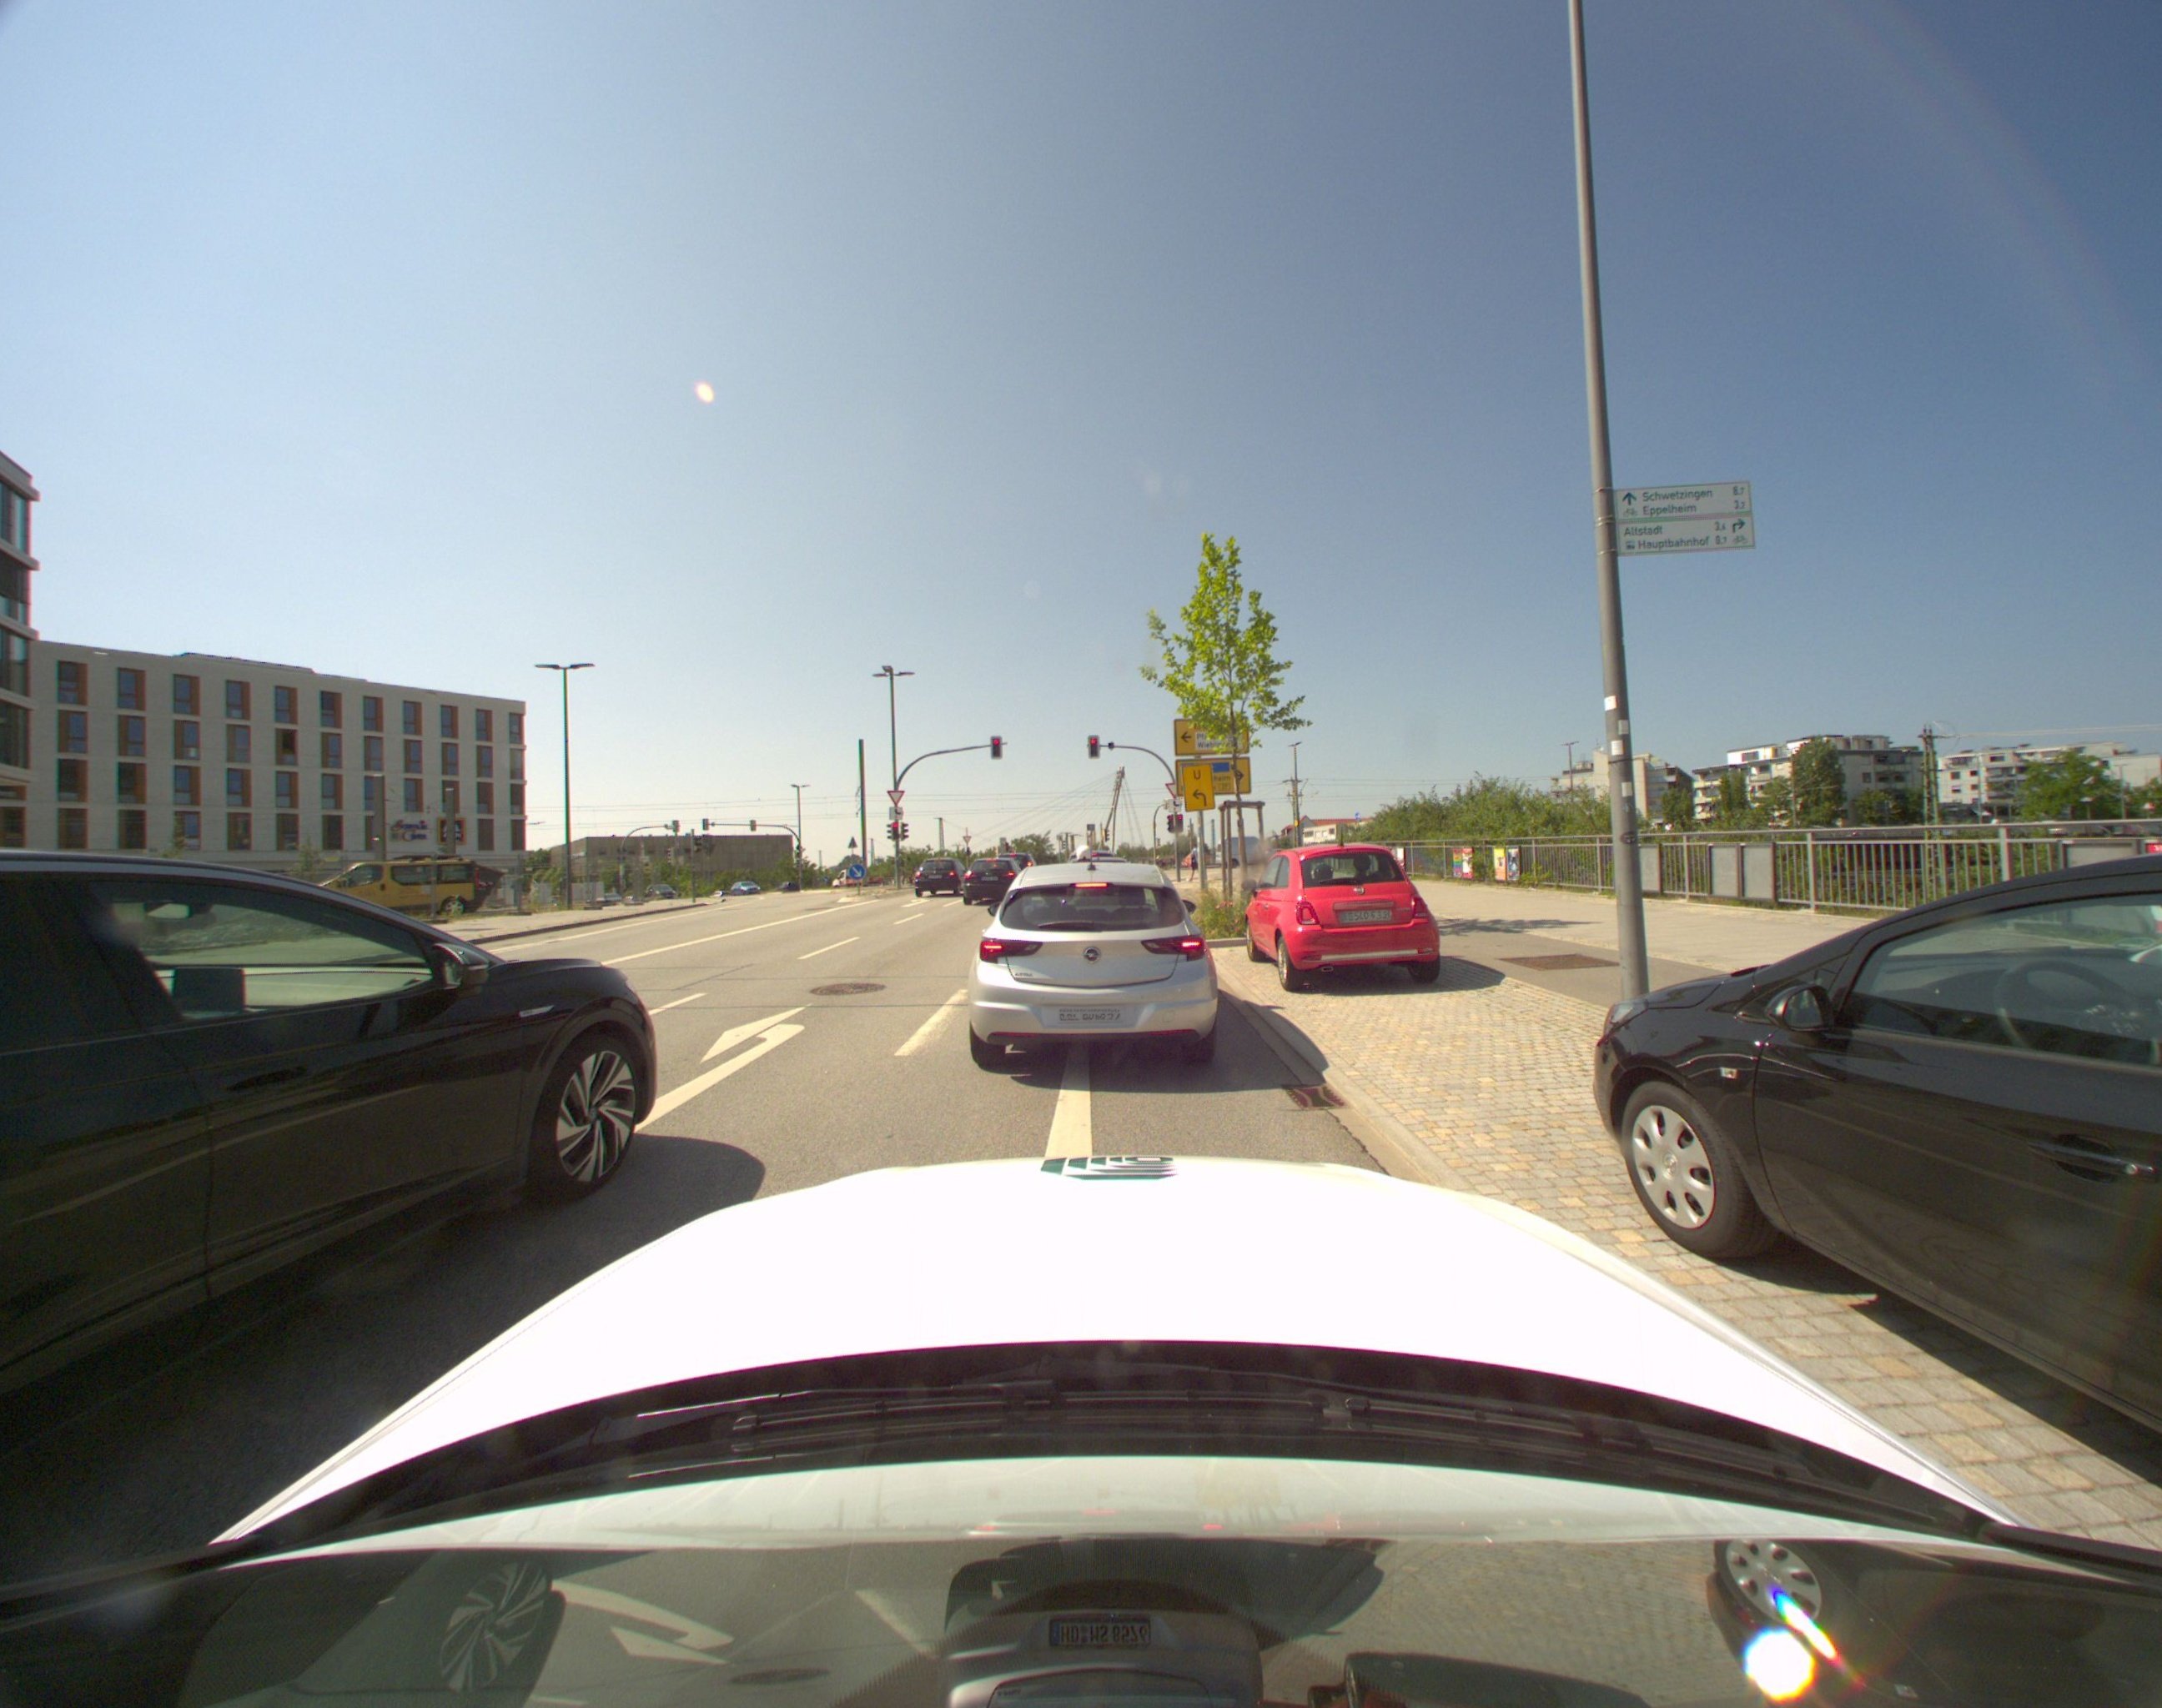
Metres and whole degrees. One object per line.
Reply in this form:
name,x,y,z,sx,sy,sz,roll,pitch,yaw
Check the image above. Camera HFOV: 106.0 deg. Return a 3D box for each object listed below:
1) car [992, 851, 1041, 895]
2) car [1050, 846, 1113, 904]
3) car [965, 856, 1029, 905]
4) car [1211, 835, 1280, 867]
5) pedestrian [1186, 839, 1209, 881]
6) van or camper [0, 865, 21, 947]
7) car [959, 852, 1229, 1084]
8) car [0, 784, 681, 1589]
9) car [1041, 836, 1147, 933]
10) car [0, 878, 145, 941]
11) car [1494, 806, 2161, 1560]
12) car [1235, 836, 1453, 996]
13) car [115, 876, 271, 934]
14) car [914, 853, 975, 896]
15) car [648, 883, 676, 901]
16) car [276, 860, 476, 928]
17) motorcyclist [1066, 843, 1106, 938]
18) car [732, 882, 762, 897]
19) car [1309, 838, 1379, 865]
car,-2.458,0.707,31.812,1.644,1.615,3.819,0,-1,0
car,0.088,0.570,24.286,1.717,1.563,4.002,0,1,2
car,-2.599,0.785,25.907,1.569,1.434,3.786,0,-1,1
car,12.917,-0.226,64.036,4.998,2.376,1.779,-1,-1,-9
pedestrian,5.240,0.273,36.583,0.641,1.836,0.803,-3,-1,40
van or camper,-36.457,1.727,25.293,2.318,2.735,4.944,0,-1,-26
car,0.067,0.745,7.256,1.738,1.478,3.998,0,-1,-1
car,-3.099,0.696,2.159,1.795,1.641,4.367,-1,-1,2
car,0.316,0.564,17.683,1.986,1.820,4.404,0,0,2
car,-33.689,1.781,27.199,1.794,1.857,3.818,0,-1,-26
car,2.872,0.602,1.926,1.655,1.426,3.998,-4,0,-1
car,2.934,0.610,9.786,1.603,1.496,3.355,-4,0,3
car,-31.029,1.698,28.668,1.873,1.774,4.619,0,-1,-22
car,-5.181,0.770,31.361,1.591,1.547,3.764,0,-1,2
car,-38.541,3.493,74.833,1.686,1.476,3.368,-2,0,-37
car,-22.709,1.198,26.406,1.964,1.962,4.655,-1,-1,40
motorcyclist,0.077,0.544,12.354,0.579,1.389,0.707,0,-1,1
car,-33.332,3.542,81.229,1.831,1.331,3.954,0,-2,-38
car,20.110,-0.195,62.299,4.706,2.014,1.991,0,-1,-13
